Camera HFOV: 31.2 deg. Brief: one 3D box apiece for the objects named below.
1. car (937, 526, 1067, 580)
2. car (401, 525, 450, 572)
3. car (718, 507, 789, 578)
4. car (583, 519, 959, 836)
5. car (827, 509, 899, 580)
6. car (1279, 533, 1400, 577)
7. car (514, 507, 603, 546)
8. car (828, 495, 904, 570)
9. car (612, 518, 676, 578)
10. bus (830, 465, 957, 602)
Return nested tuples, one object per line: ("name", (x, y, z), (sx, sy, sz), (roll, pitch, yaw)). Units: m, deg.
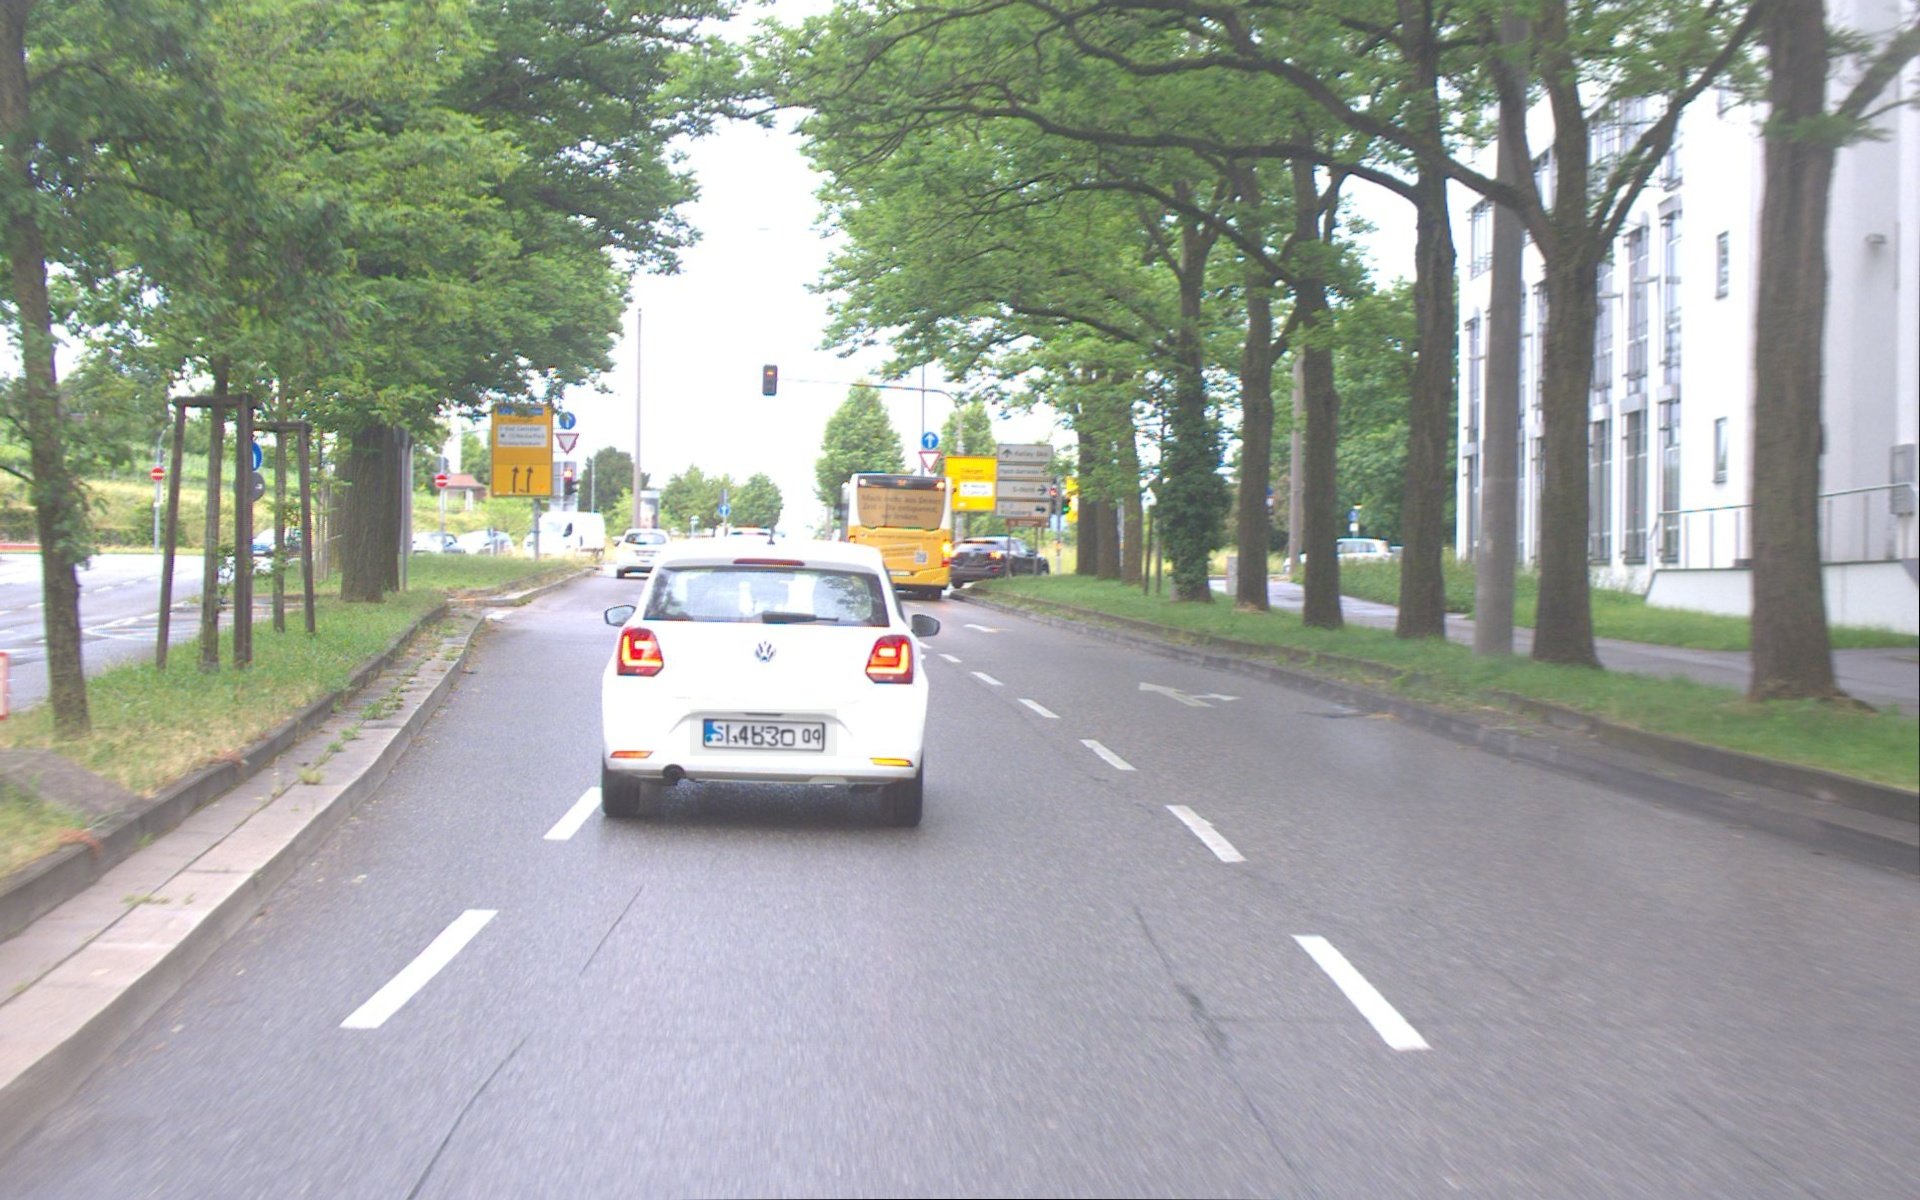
("car", (1.247, -1.358, 100.337), (1.699, 1.510, 3.818), (1, 0, 42))
("car", (-24.211, -2.337, 155.874), (1.993, 2.007, 4.001), (1, 0, -7))
("car", (-6.037, -1.654, 100.662), (1.993, 2.007, 4.000), (0, 0, -3))
("car", (-1.096, 0.337, 18.816), (1.794, 1.497, 4.001), (2, 1, -5))
("car", (-2.890, -1.620, 101.601), (1.993, 2.007, 4.000), (0, 0, -3))
("car", (13.559, -1.625, 122.726), (3.990, 1.531, 1.998), (1, 1, 18))
("car", (-21.029, -3.880, 180.280), (1.996, 2.007, 5.703), (1, 1, 24))
("car", (-2.649, -1.855, 96.055), (1.993, 2.007, 4.000), (0, 0, -3))
("car", (-9.365, -1.545, 102.145), (1.794, 1.735, 4.001), (0, 1, -4))
("bus", (-1.790, -1.715, 88.134), (2.828, 3.255, 10.002), (1, 1, -3))
